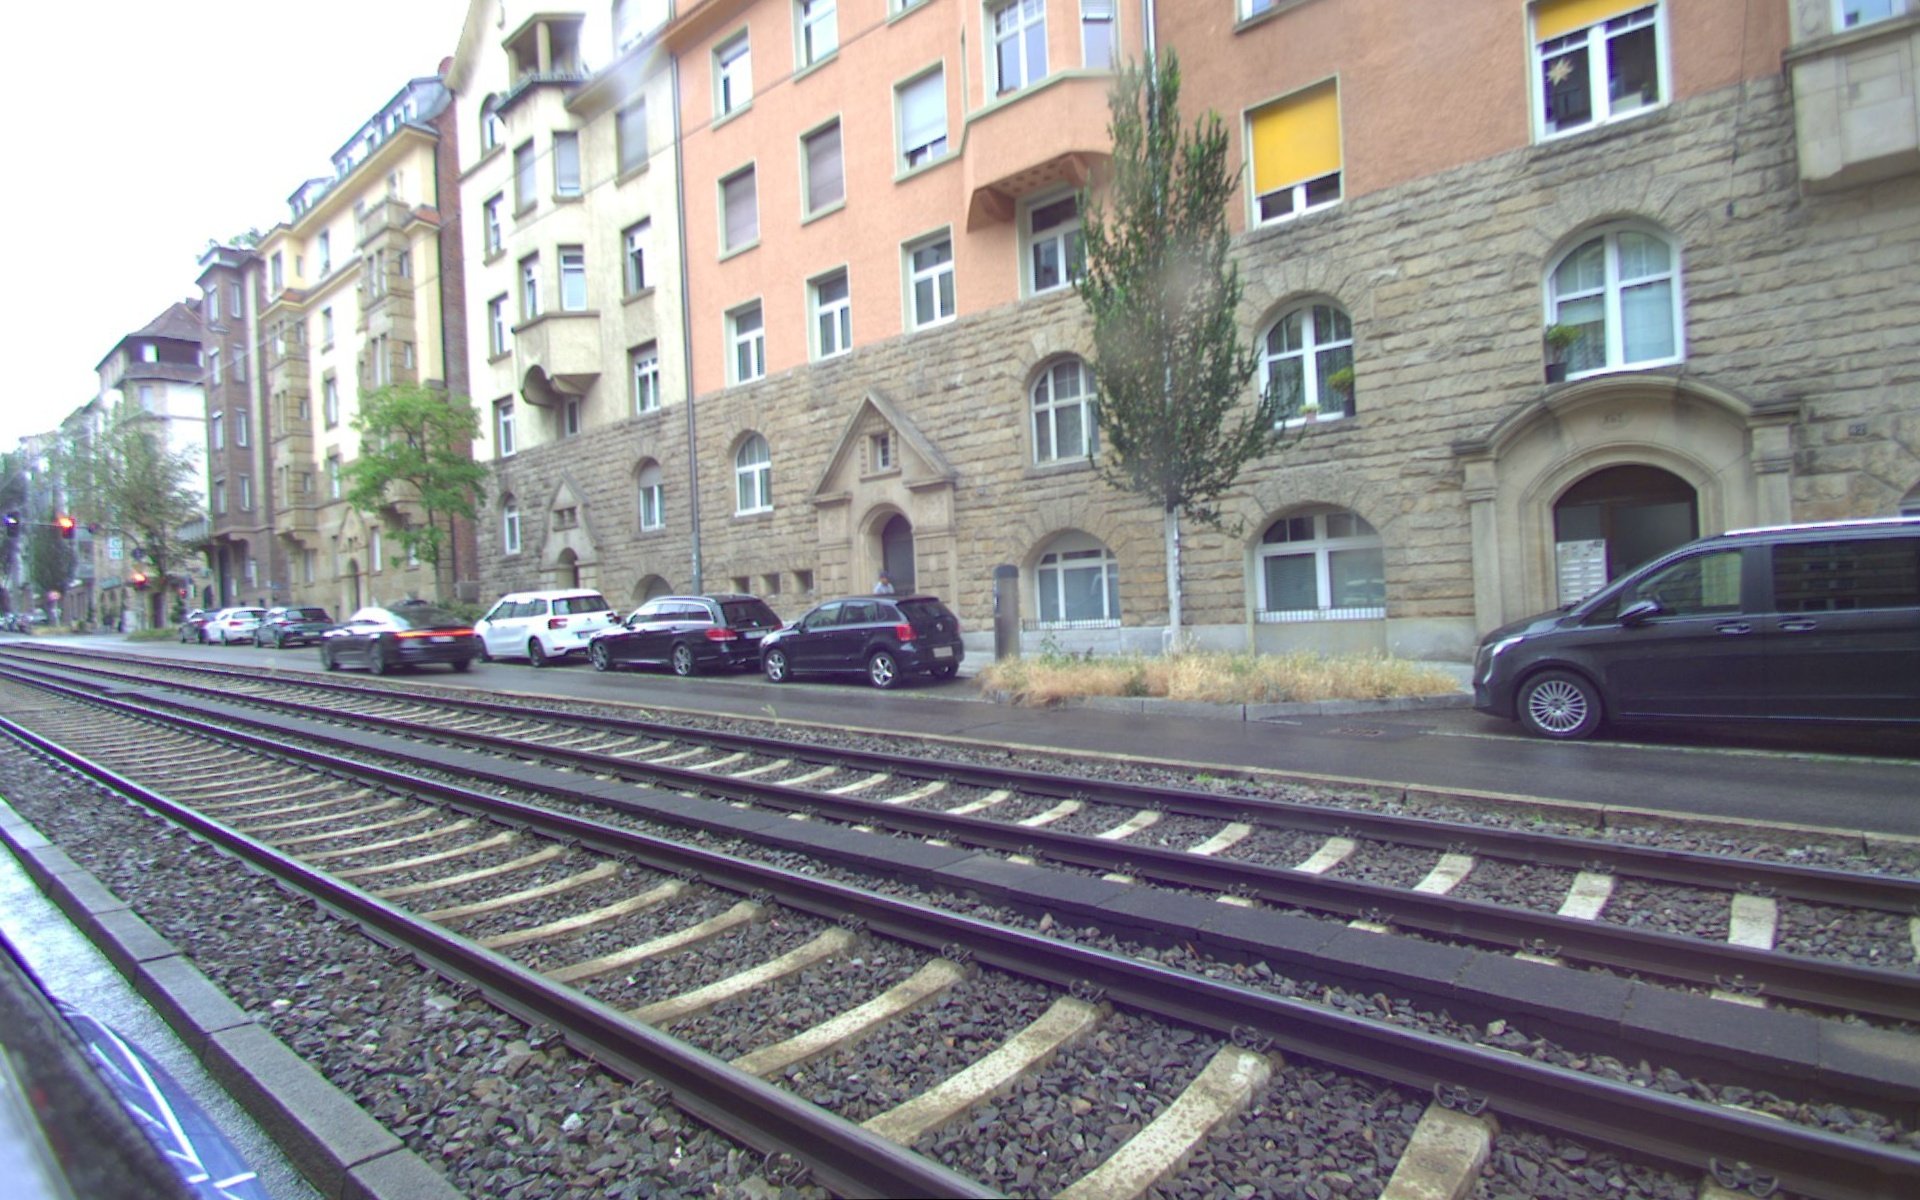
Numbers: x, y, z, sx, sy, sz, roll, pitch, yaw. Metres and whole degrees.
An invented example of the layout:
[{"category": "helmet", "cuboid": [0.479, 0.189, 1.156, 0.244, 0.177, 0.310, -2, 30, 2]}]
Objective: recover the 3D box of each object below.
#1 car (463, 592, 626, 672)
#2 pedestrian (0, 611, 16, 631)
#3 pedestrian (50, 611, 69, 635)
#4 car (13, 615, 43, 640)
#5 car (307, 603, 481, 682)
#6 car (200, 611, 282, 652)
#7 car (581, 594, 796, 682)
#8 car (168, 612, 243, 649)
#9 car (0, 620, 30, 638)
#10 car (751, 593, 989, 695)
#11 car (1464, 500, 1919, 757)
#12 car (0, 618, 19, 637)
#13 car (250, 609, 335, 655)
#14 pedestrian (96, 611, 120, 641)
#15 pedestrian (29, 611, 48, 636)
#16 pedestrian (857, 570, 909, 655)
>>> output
[{"category": "car", "cuboid": [-9.738, 0.705, 23.603, 4.144, 1.668, 1.843, -1, 0, 41]}, {"category": "pedestrian", "cuboid": [-97.992, 2.144, 103.899, 1.379, 1.972, 1.362, -1, 0, 43]}, {"category": "pedestrian", "cuboid": [-76.663, 1.966, 86.136, 1.163, 1.972, 1.042, -1, 0, 43]}, {"category": "car", "cuboid": [-69.035, 1.998, 74.964, 1.561, 1.691, 3.794, -2, 2, -43]}, {"category": "car", "cuboid": [-12.590, 0.897, 22.374, 4.962, 1.535, 1.784, -1, 0, 41]}, {"category": "car", "cuboid": [-28.278, 1.215, 39.754, 4.030, 1.452, 1.748, -1, 1, 42]}, {"category": "car", "cuboid": [-5.431, 0.700, 19.930, 4.599, 1.506, 1.824, -1, 0, 41]}, {"category": "car", "cuboid": [-32.137, 1.270, 43.077, 3.843, 1.452, 1.748, -1, 0, 41]}, {"category": "car", "cuboid": [-74.284, 2.287, 79.329, 3.843, 1.321, 1.563, -1, 0, 41]}, {"category": "car", "cuboid": [-1.549, 0.671, 16.908, 3.638, 1.508, 1.912, -1, 0, 38]}, {"category": "car", "cuboid": [7.354, 0.218, 8.974, 4.823, 1.956, 1.973, -1, 0, 41]}, {"category": "car", "cuboid": [-80.912, 2.295, 85.402, 3.843, 1.527, 1.748, -1, 0, 41]}, {"category": "car", "cuboid": [-23.677, 1.099, 35.851, 3.845, 1.452, 1.656, -1, 1, 43]}, {"category": "pedestrian", "cuboid": [-57.762, 1.750, 68.588, 1.163, 1.972, 1.042, -1, 0, 43]}, {"category": "pedestrian", "cuboid": [-77.493, 1.976, 85.143, 1.163, 1.972, 1.042, -1, 0, 43]}, {"category": "pedestrian", "cuboid": [-1.527, 0.243, 20.097, 0.765, 1.654, 0.692, -1, 0, 41]}]
